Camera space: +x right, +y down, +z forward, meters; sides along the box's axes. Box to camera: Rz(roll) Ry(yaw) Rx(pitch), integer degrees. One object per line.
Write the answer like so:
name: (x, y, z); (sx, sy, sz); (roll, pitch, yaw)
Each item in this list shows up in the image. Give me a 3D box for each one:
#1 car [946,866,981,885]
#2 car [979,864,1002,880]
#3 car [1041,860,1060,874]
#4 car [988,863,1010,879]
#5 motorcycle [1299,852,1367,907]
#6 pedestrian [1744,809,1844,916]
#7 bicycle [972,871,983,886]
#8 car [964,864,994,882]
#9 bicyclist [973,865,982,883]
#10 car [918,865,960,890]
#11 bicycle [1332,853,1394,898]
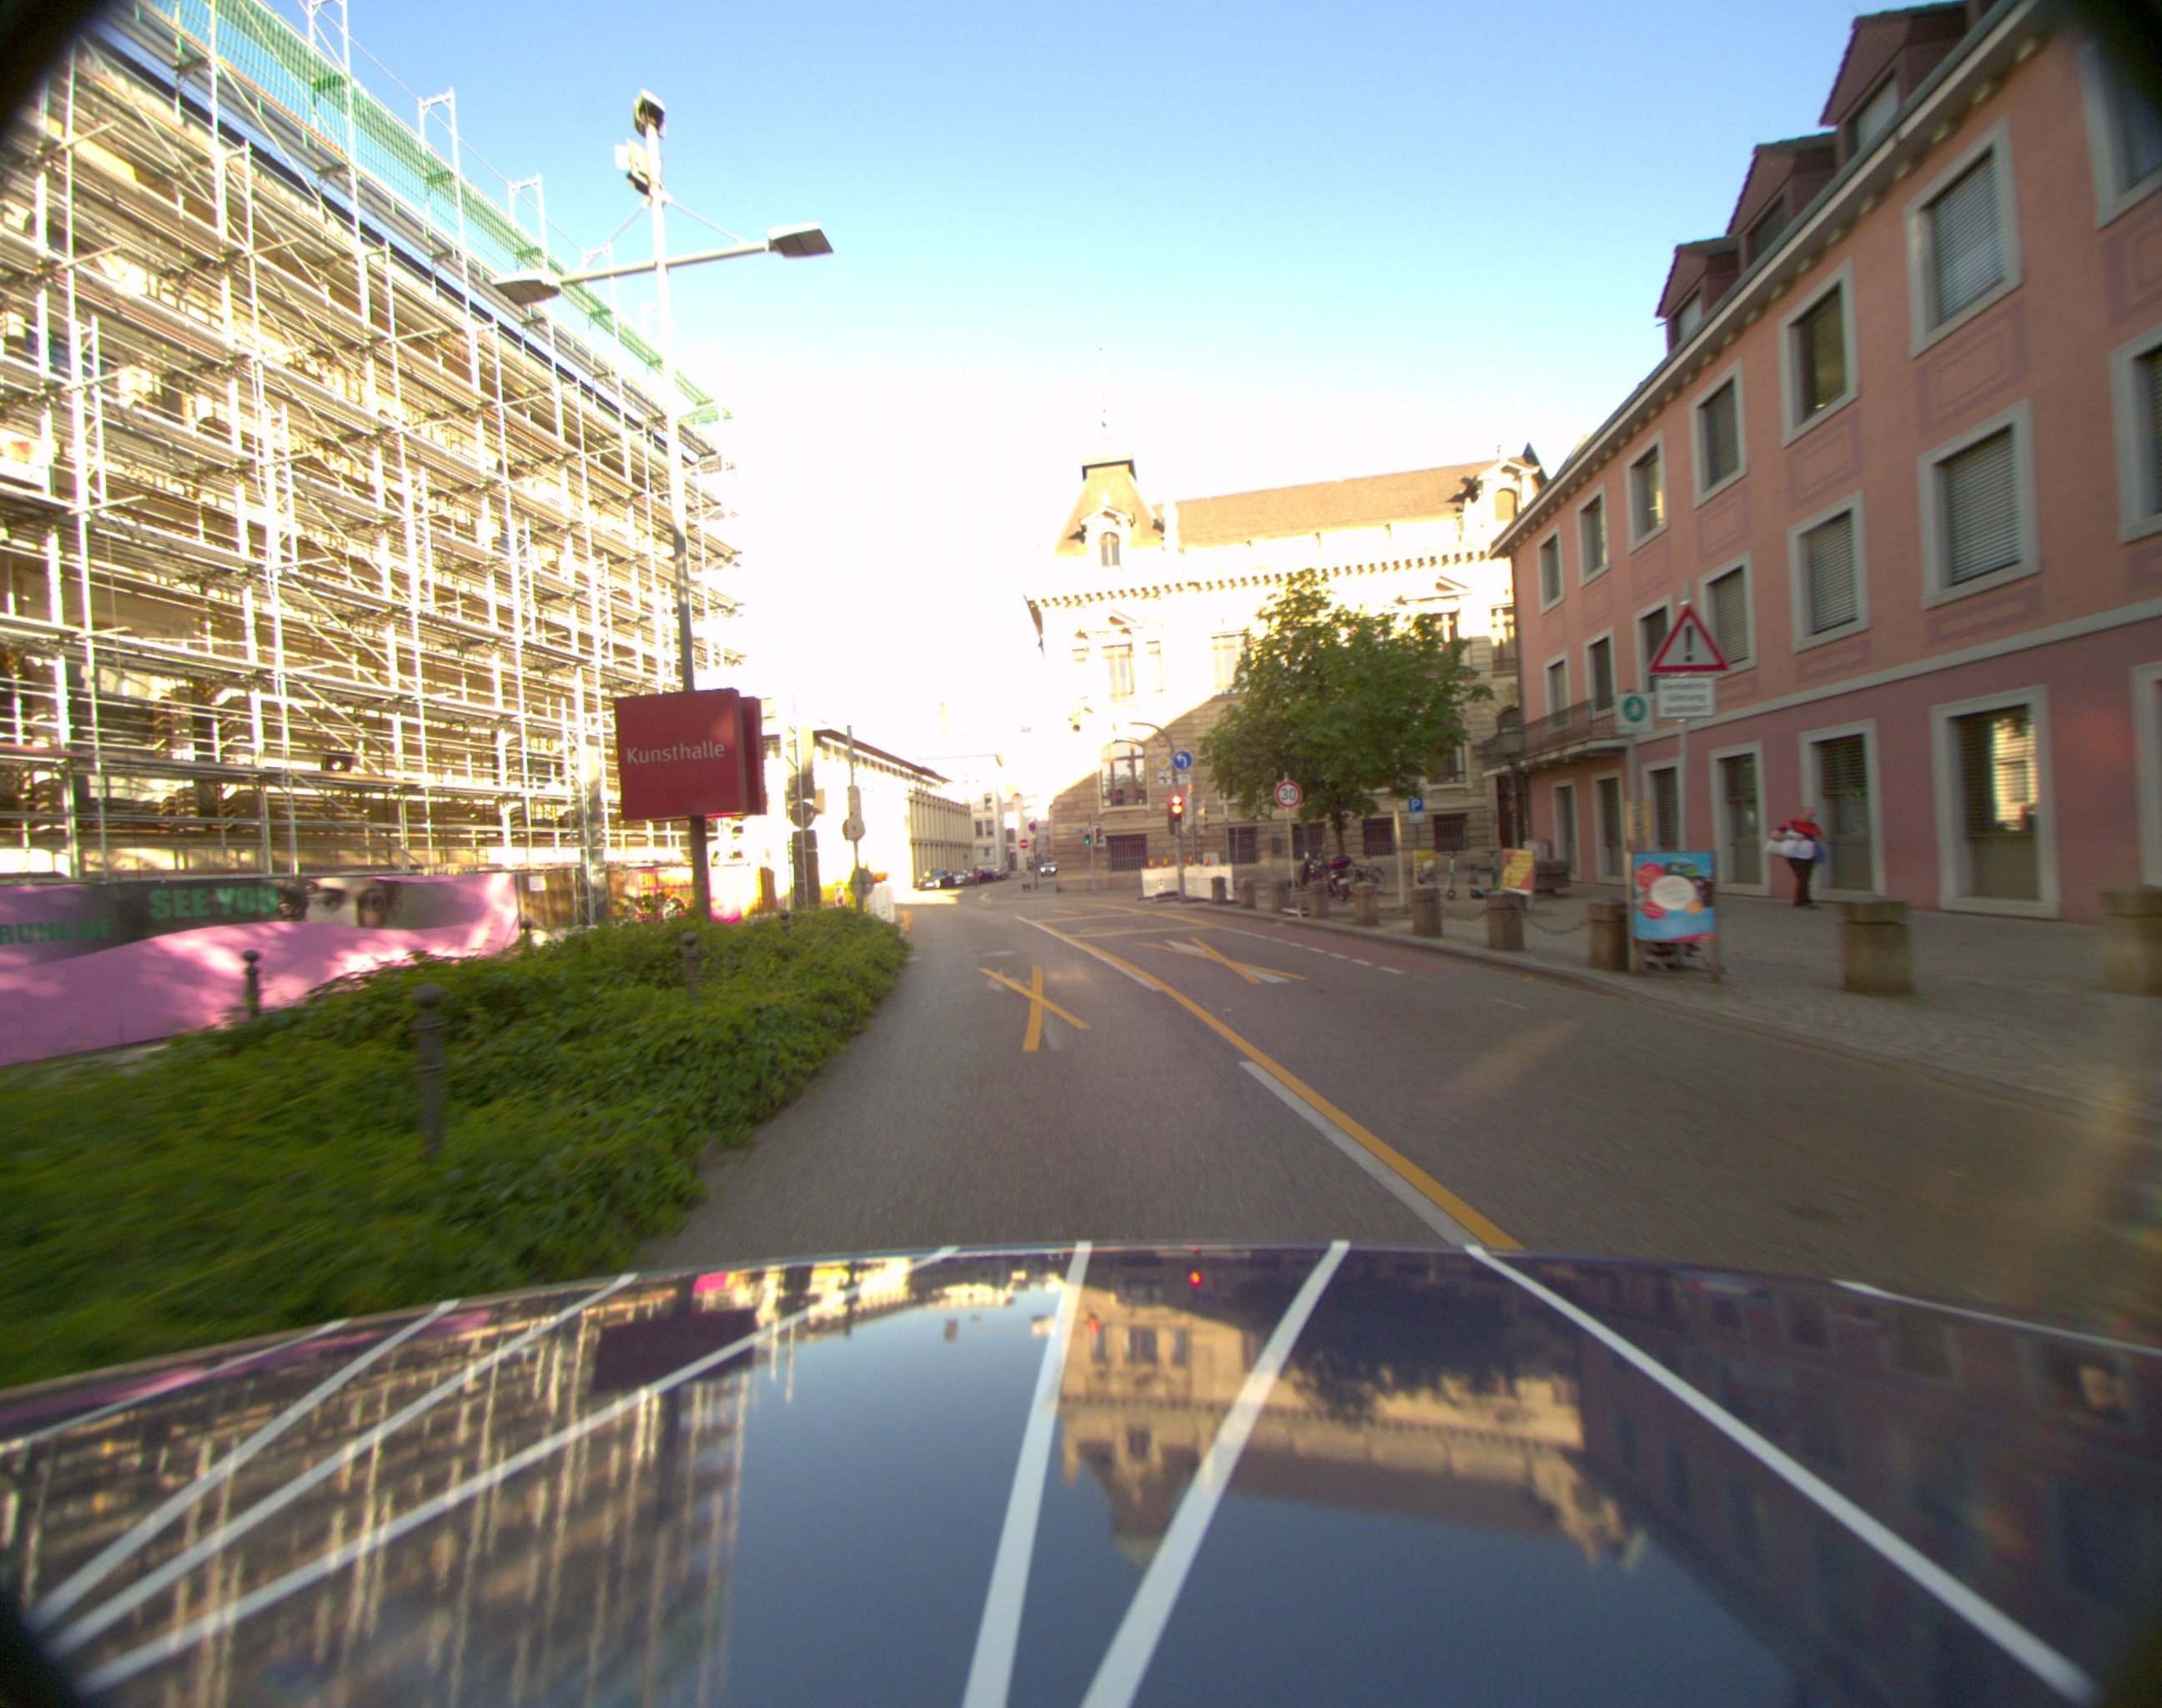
car: (-10.064, 1.821, 65.427); (1.700, 1.336, 4.600); (-4, 0, 7)
car: (-9.130, 1.802, 77.139); (1.631, 1.391, 3.887); (-4, 0, 2)
car: (-3.638, 1.502, 91.416); (1.854, 1.483, 4.255); (-4, 0, 2)
car: (-8.896, 1.794, 82.503); (1.697, 1.483, 4.255); (-4, 0, 2)
motorcycle: (6.587, 0.645, 20.002); (0.814, 1.309, 2.336); (-3, 0, -4)
pedestrian: (11.953, 0.139, 12.766); (0.792, 1.679, 0.869); (-5, 0, 9)
bicycle: (-7.927, 1.870, 58.401); (0.535, 1.060, 1.426); (-4, 0, 2)
car: (-9.502, 1.756, 71.118); (1.700, 1.461, 4.793); (-4, 0, 4)
bicyclist: (-7.953, 1.532, 58.442); (0.538, 1.281, 0.551); (-4, 0, 2)
car: (-10.845, 1.742, 58.317); (1.898, 1.614, 4.622); (-4, 0, 4)
bicycle: (8.107, 0.592, 21.813); (2.009, 1.199, 0.682); (-2, 1, -37)
